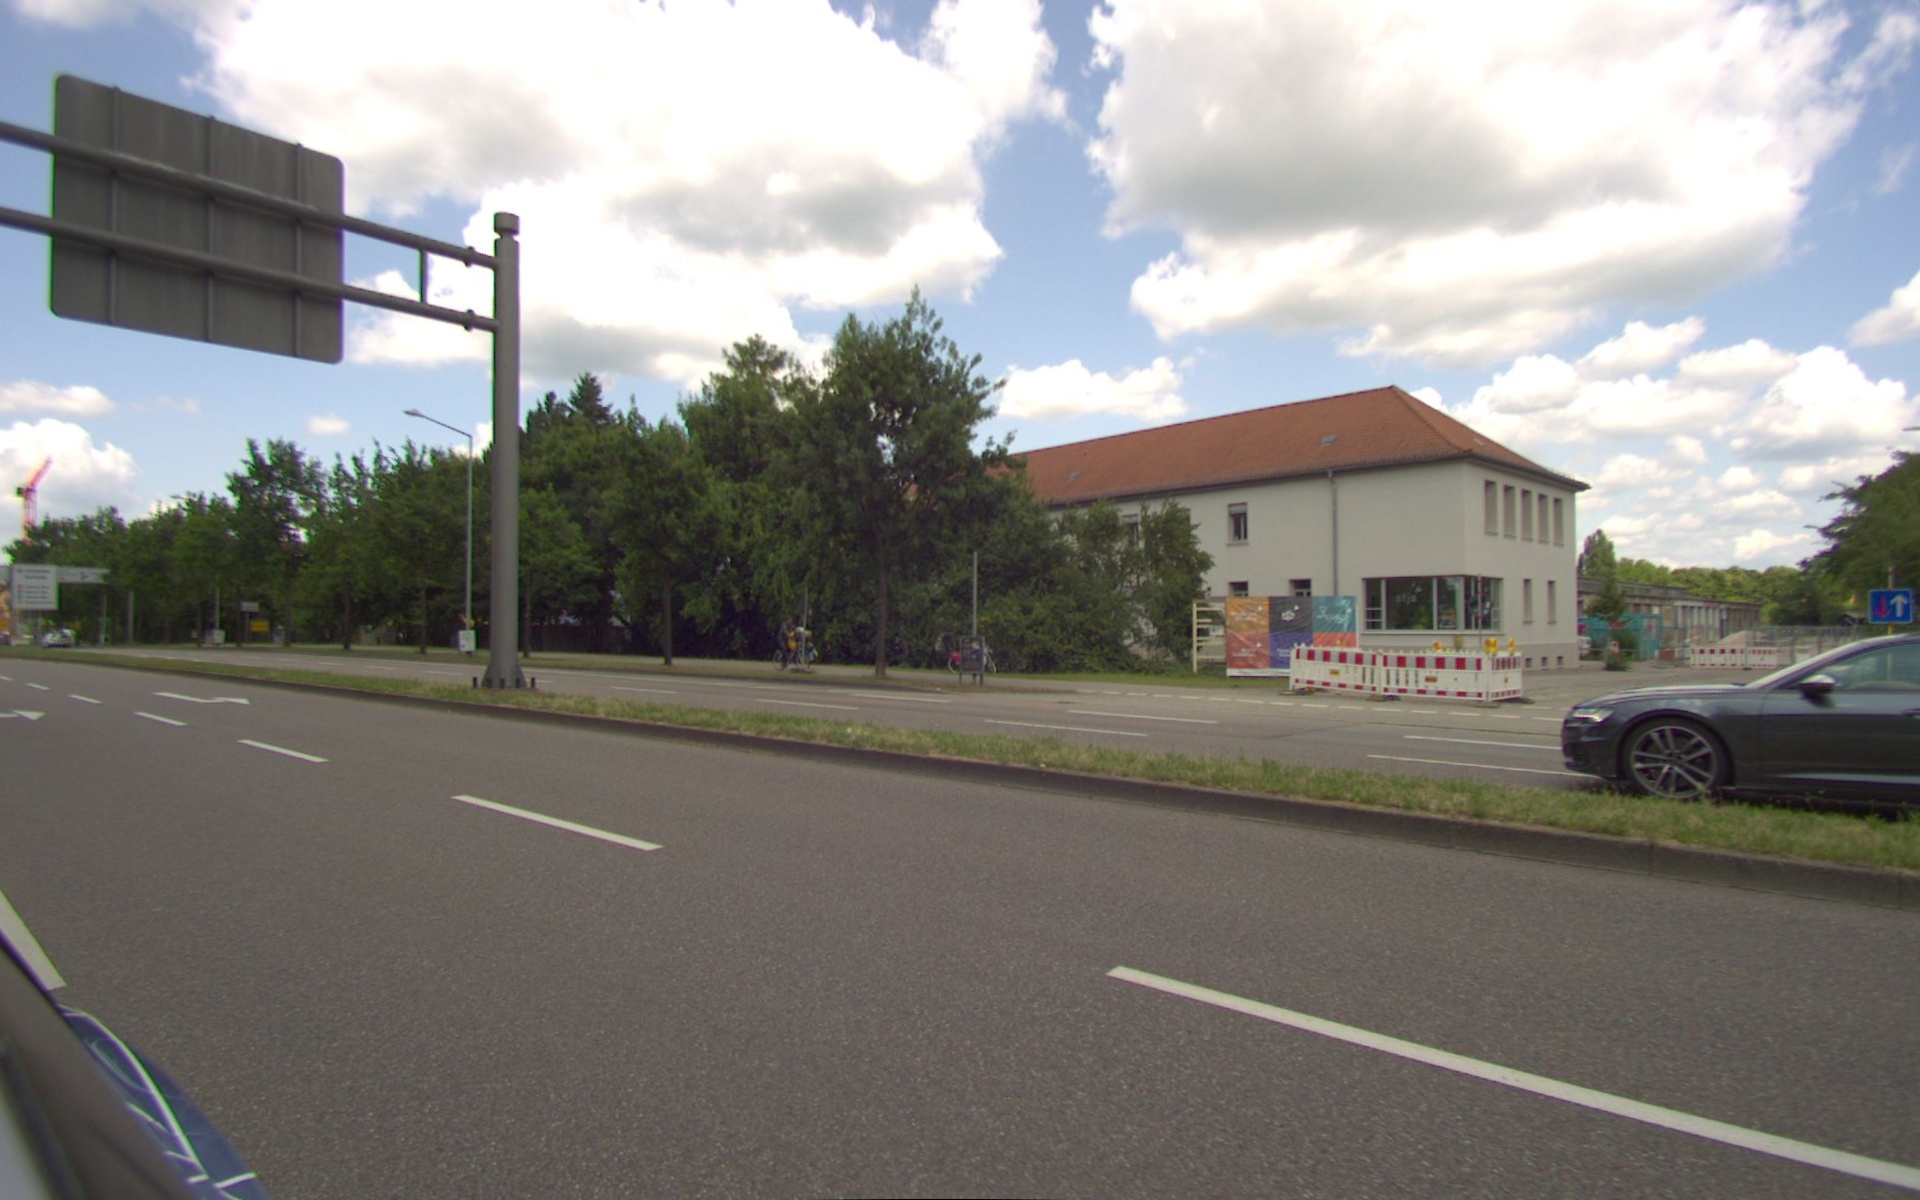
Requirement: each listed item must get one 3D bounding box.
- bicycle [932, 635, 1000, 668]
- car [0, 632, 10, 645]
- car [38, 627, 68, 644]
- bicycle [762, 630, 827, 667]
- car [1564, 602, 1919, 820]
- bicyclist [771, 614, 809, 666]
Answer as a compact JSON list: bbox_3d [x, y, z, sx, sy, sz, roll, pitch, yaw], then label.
[{"bbox_3d":[0.175,1.653,32.474,2.117,1.023,0.665,1,-2,-4],"label":"bicycle"},{"bbox_3d":[-115.186,4.600,121.208,4.070,1.507,1.691,-2,-2,42],"label":"car"},{"bbox_3d":[-84.309,3.311,94.048,3.696,1.507,1.691,-2,-2,42],"label":"car"},{"bbox_3d":[-5.404,1.560,32.983,2.254,1.170,0.743,-1,-2,37],"label":"bicycle"},{"bbox_3d":[7.579,0.790,7.665,4.906,1.528,1.939,-1,-2,41],"label":"car"},{"bbox_3d":[-5.564,1.306,33.115,0.979,1.671,0.731,-1,-2,36],"label":"bicyclist"}]
